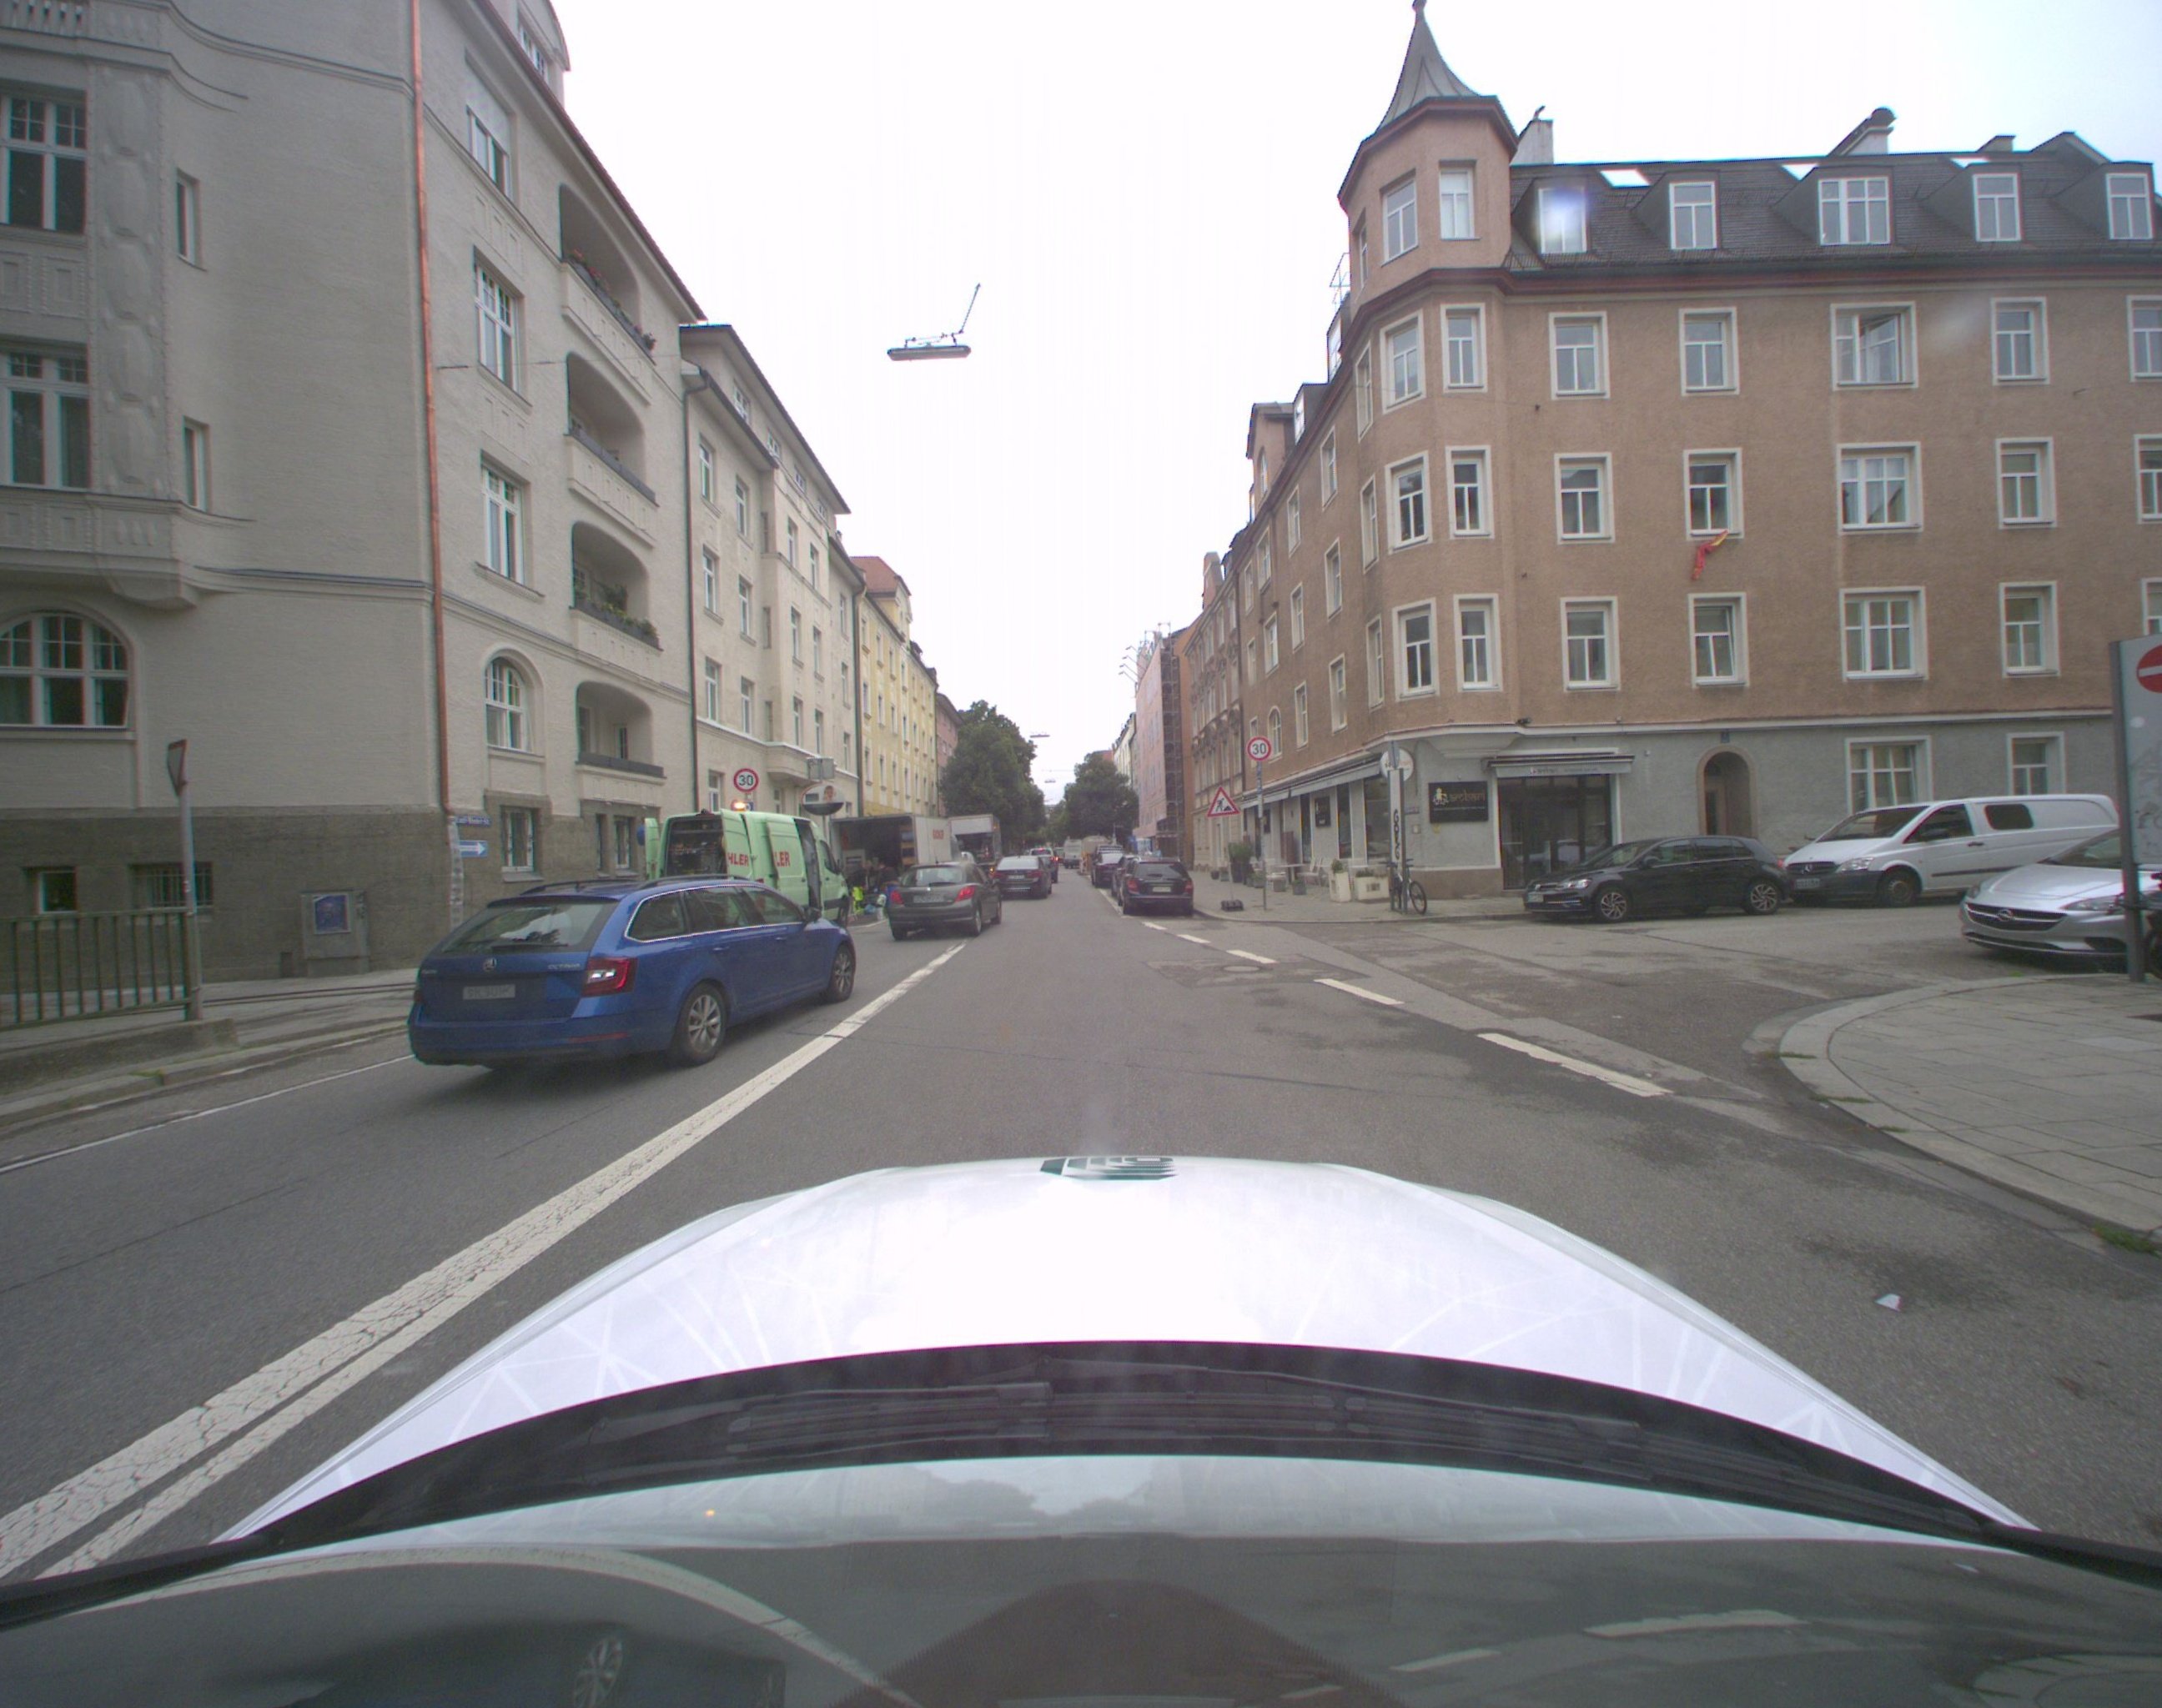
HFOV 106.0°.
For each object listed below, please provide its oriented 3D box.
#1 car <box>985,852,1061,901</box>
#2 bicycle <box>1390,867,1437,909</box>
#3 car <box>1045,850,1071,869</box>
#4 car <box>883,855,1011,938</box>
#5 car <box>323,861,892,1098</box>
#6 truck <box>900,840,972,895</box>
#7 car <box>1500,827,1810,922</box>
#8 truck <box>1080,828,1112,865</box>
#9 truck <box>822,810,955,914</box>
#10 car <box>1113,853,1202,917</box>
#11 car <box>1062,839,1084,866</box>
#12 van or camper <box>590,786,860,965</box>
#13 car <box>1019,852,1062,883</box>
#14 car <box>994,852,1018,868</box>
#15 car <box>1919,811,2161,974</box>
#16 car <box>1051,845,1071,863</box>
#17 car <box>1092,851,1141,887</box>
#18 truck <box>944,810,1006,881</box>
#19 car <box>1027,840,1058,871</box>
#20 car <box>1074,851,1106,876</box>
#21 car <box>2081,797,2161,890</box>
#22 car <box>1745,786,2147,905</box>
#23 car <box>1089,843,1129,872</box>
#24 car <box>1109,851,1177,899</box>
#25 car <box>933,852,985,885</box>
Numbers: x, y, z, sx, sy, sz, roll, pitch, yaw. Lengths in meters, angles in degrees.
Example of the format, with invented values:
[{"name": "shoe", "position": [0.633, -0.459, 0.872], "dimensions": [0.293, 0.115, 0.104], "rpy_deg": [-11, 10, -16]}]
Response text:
[{"name": "car", "position": [-1.903, 0.711, 28.413], "dimensions": [1.982, 1.429, 4.910], "rpy_deg": [-1, 1, 3]}, {"name": "bicycle", "position": [6.813, 0.683, 16.742], "dimensions": [0.455, 0.805, 1.327], "rpy_deg": [-1, 0, 2]}, {"name": "car", "position": [-1.816, 0.426, 65.699], "dimensions": [1.984, 1.429, 4.140], "rpy_deg": [-2, 1, 0]}, {"name": "car", "position": [-2.673, 0.795, 17.162], "dimensions": [1.751, 1.461, 4.078], "rpy_deg": [-2, 0, 3]}, {"name": "car", "position": [-3.591, 0.828, 7.509], "dimensions": [1.976, 1.454, 4.745], "rpy_deg": [-2, -1, 8]}, {"name": "truck", "position": [-6.123, 0.536, 34.985], "dimensions": [2.280, 2.171, 4.804], "rpy_deg": [-2, 0, -1]}, {"name": "car", "position": [10.107, 0.373, 14.594], "dimensions": [4.157, 1.429, 1.924], "rpy_deg": [-2, -2, -1]}, {"name": "truck", "position": [1.255, -0.640, 69.886], "dimensions": [2.484, 2.973, 5.325], "rpy_deg": [-2, 0, -1]}, {"name": "truck", "position": [-6.030, 0.168, 26.800], "dimensions": [2.766, 2.873, 7.197], "rpy_deg": [-2, 1, -2]}, {"name": "car", "position": [1.908, 0.734, 21.489], "dimensions": [1.839, 1.429, 4.181], "rpy_deg": [1, 1, -2]}, {"name": "car", "position": [-0.718, -0.126, 76.861], "dimensions": [1.933, 2.480, 4.784], "rpy_deg": [-2, 0, 1]}, {"name": "van or camper", "position": [-6.652, 0.299, 16.403], "dimensions": [2.592, 2.840, 6.185], "rpy_deg": [-2, 1, 0]}, {"name": "car", "position": [-2.047, 0.662, 42.592], "dimensions": [1.984, 1.429, 4.140], "rpy_deg": [-2, 1, 0]}, {"name": "car", "position": [-7.068, 0.552, 77.045], "dimensions": [1.934, 1.448, 3.864], "rpy_deg": [-2, 0, -1]}, {"name": "car", "position": [11.636, 0.293, 8.468], "dimensions": [4.022, 1.456, 1.747], "rpy_deg": [-2, 2, 1]}, {"name": "car", "position": [-2.239, -0.020, 91.011], "dimensions": [1.986, 1.904, 4.001], "rpy_deg": [-1, 0, 2]}, {"name": "car", "position": [1.518, 0.605, 36.005], "dimensions": [1.839, 1.429, 4.304], "rpy_deg": [1, 1, -2]}, {"name": "truck", "position": [-6.386, -0.496, 49.954], "dimensions": [3.004, 3.951, 6.990], "rpy_deg": [-2, 0, -2]}, {"name": "car", "position": [-2.701, 0.096, 58.084], "dimensions": [1.984, 2.075, 4.140], "rpy_deg": [-2, 1, 0]}, {"name": "car", "position": [0.598, 0.583, 53.429], "dimensions": [1.984, 1.429, 4.140], "rpy_deg": [-2, 1, 0]}, {"name": "car", "position": [22.044, -0.277, 15.010], "dimensions": [4.594, 1.687, 2.099], "rpy_deg": [-2, -2, -1]}, {"name": "car", "position": [15.653, -0.115, 14.981], "dimensions": [5.111, 1.854, 2.099], "rpy_deg": [-2, -2, -1]}, {"name": "car", "position": [1.450, 0.136, 43.827], "dimensions": [1.984, 1.429, 4.140], "rpy_deg": [-2, 1, 0]}, {"name": "car", "position": [1.984, 0.646, 27.275], "dimensions": [1.839, 1.429, 4.138], "rpy_deg": [1, 1, -2]}, {"name": "car", "position": [-6.282, 0.721, 42.358], "dimensions": [1.984, 1.610, 4.140], "rpy_deg": [-2, 0, 0]}]
